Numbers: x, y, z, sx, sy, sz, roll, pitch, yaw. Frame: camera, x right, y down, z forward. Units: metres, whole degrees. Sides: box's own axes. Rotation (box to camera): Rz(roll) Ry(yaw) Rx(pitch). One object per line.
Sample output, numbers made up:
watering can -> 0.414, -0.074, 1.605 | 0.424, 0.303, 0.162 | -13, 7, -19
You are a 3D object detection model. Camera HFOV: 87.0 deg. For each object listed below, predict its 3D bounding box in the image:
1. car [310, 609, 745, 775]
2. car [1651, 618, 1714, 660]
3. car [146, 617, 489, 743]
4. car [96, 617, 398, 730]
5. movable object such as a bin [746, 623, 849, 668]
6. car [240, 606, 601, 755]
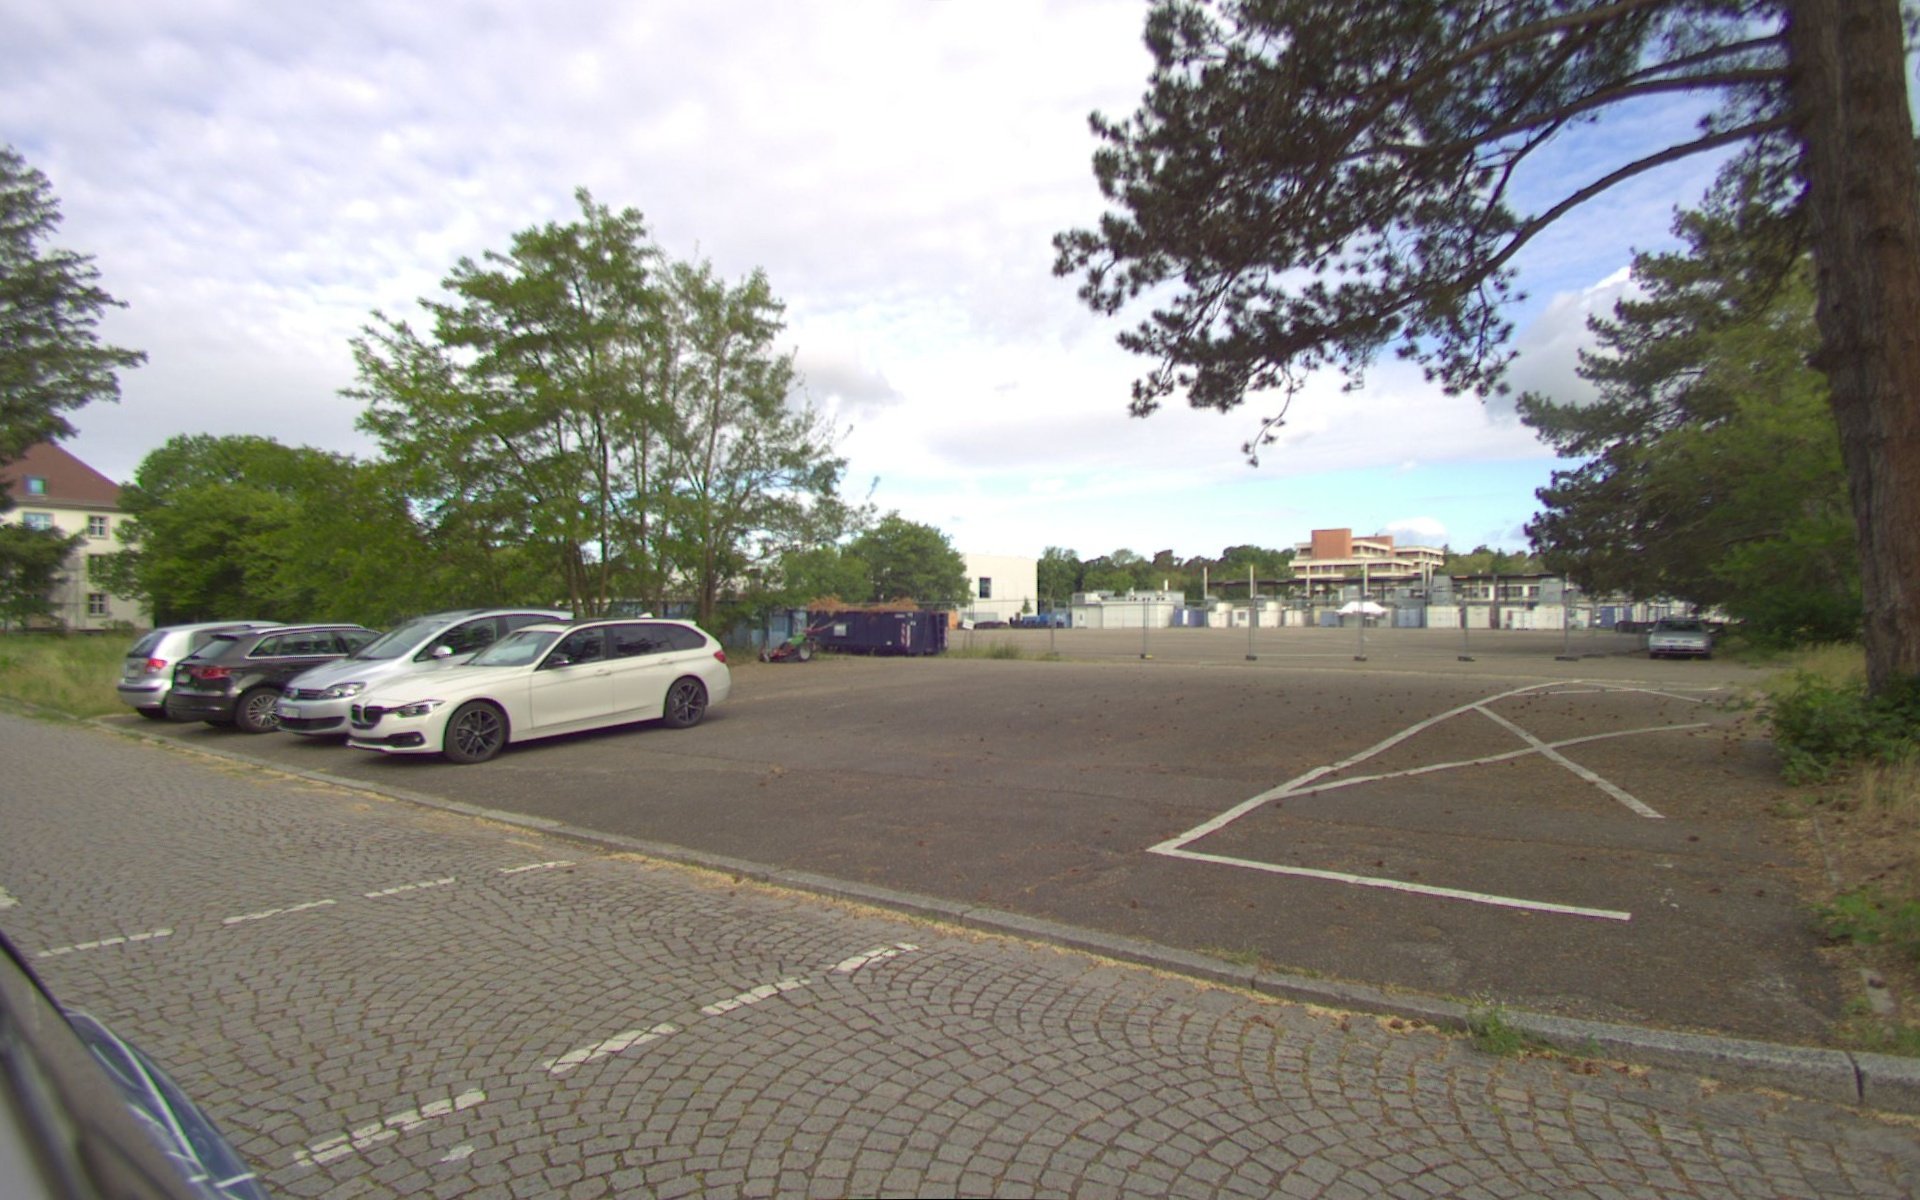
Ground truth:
car -> -4.949, 0.937, 12.293 | 1.797, 1.454, 4.609 | -1, 1, 34
car -> 25.217, 1.319, 35.318 | 1.694, 1.403, 3.951 | -1, -1, 36
car -> -9.395, 1.069, 15.081 | 1.748, 1.438, 3.951 | -1, 1, 37
car -> -11.616, 1.111, 16.698 | 1.803, 1.463, 3.648 | -1, 1, 33
movable object such as a bin -> -4.441, 1.211, 27.770 | 1.500, 1.170, 2.365 | -1, -2, 43
car -> -7.078, 0.945, 13.677 | 1.719, 1.559, 3.955 | -1, 1, 33
